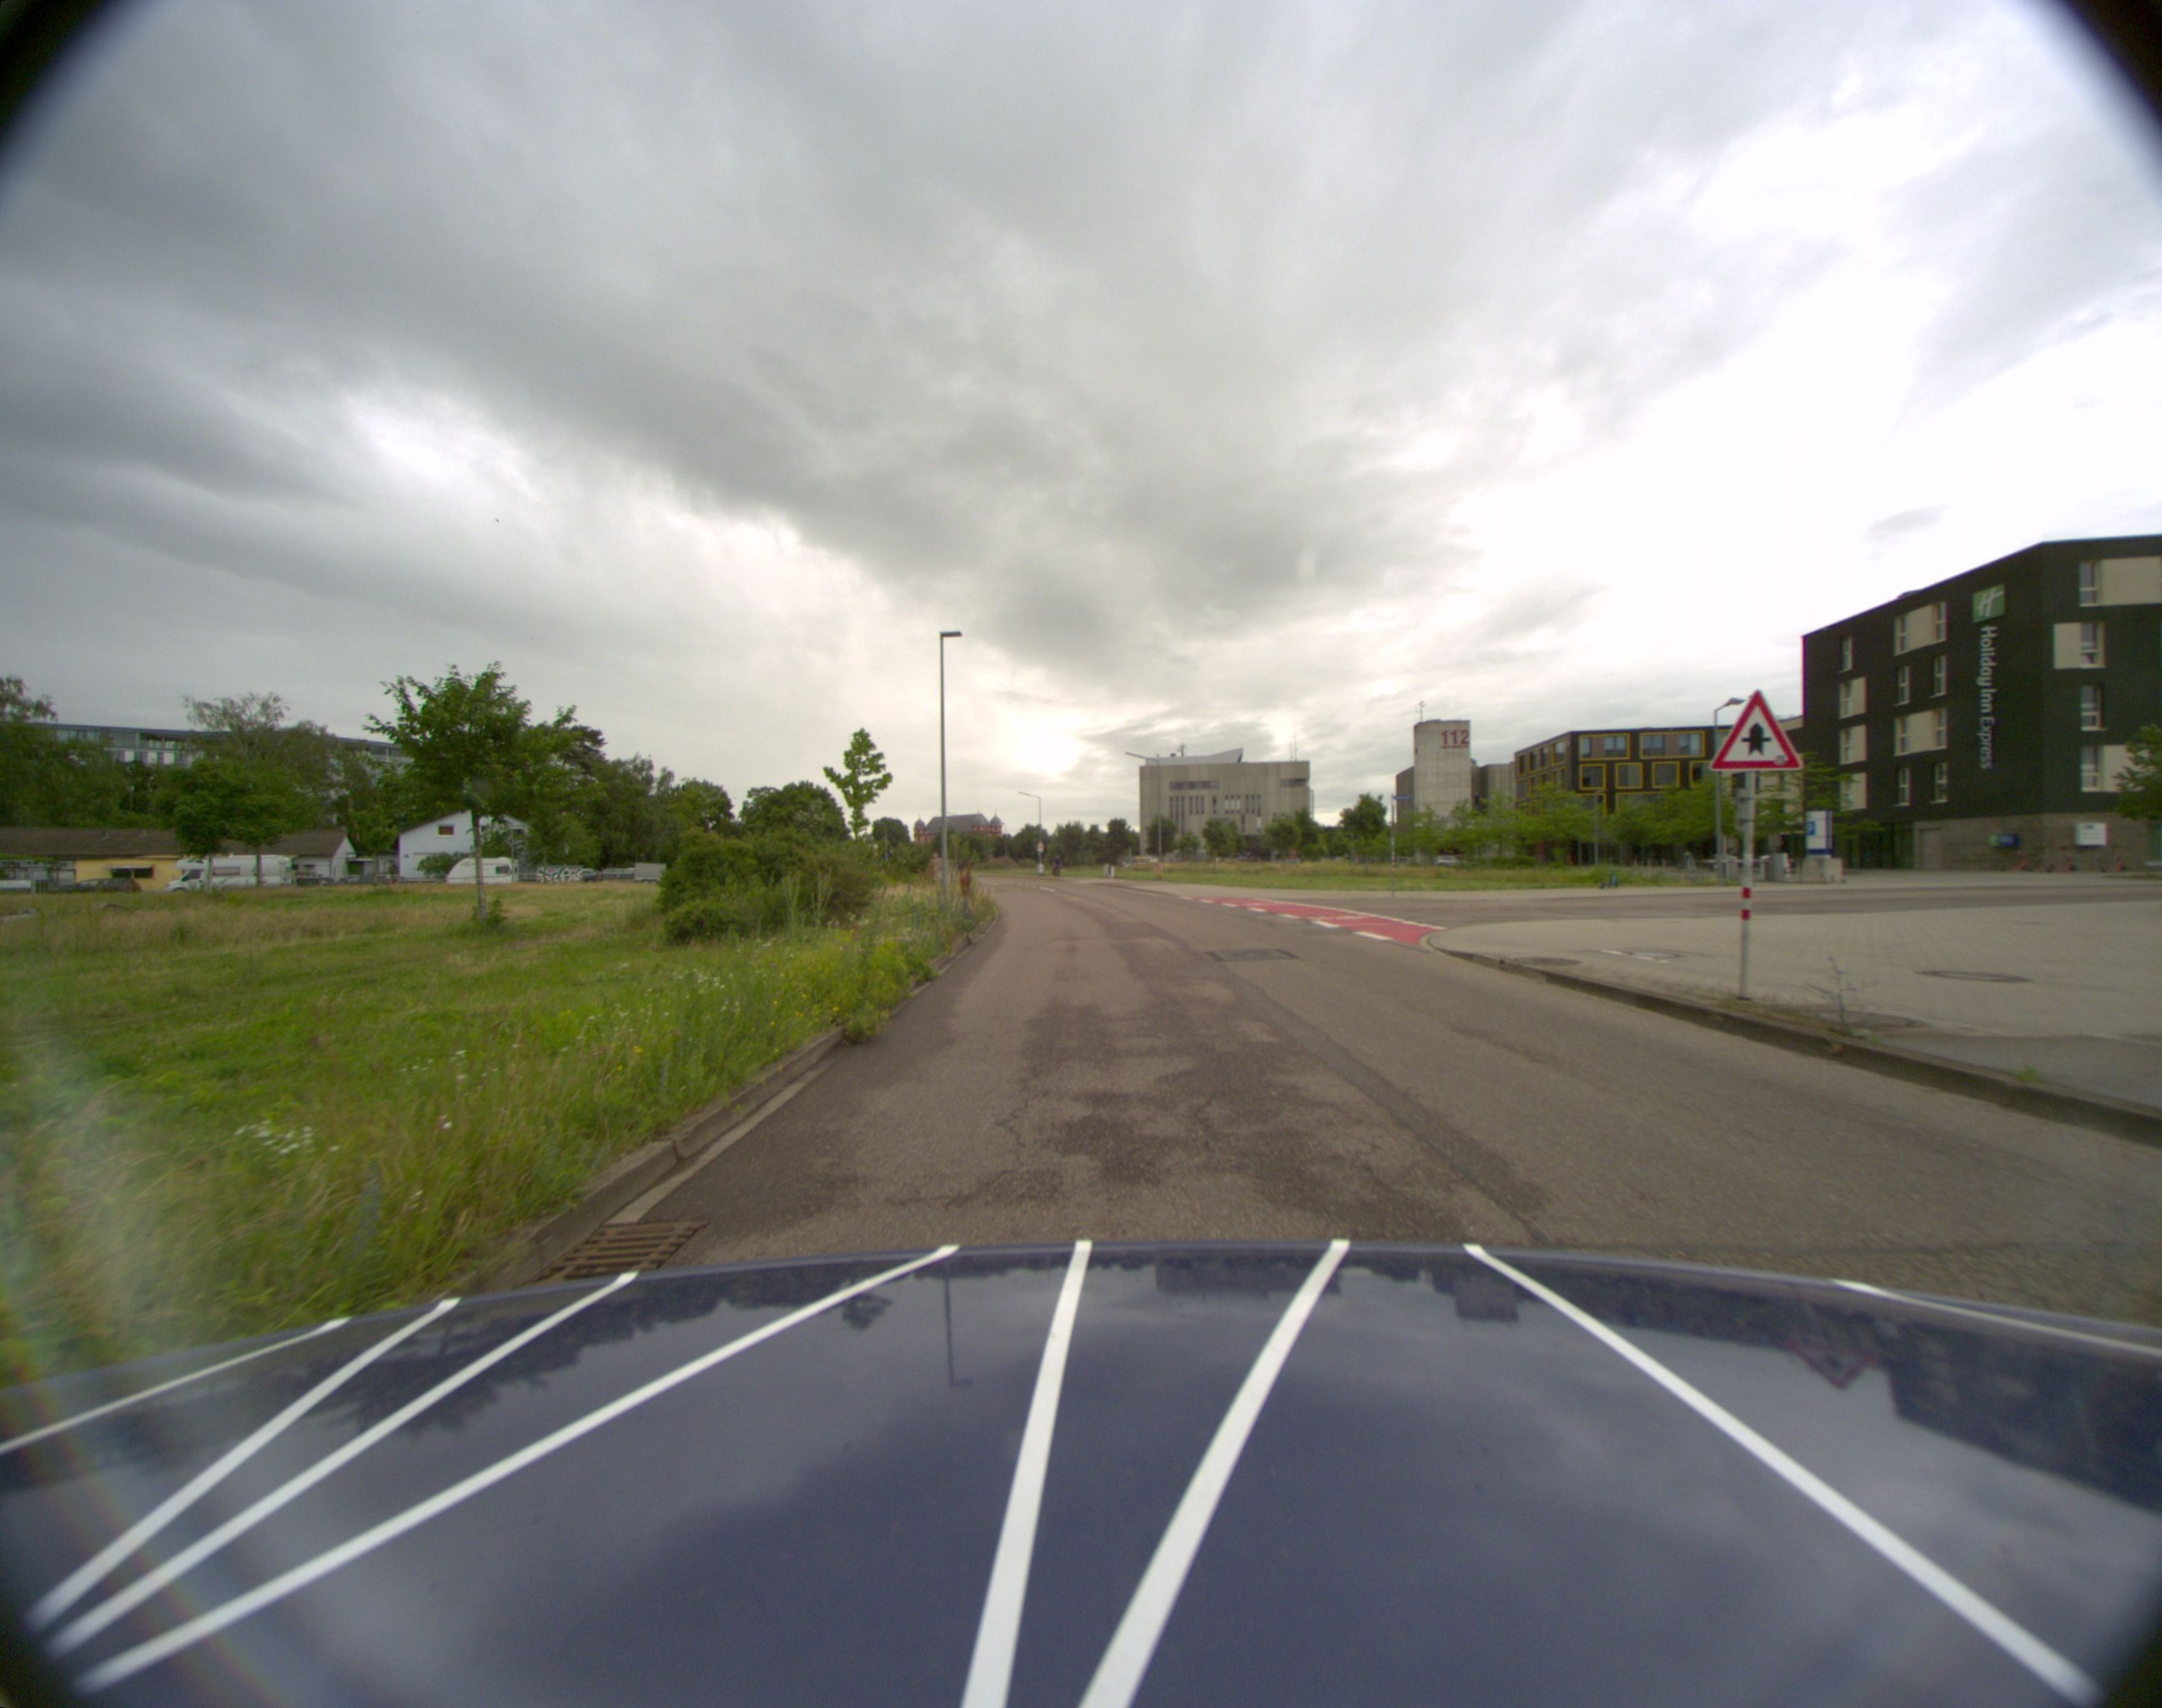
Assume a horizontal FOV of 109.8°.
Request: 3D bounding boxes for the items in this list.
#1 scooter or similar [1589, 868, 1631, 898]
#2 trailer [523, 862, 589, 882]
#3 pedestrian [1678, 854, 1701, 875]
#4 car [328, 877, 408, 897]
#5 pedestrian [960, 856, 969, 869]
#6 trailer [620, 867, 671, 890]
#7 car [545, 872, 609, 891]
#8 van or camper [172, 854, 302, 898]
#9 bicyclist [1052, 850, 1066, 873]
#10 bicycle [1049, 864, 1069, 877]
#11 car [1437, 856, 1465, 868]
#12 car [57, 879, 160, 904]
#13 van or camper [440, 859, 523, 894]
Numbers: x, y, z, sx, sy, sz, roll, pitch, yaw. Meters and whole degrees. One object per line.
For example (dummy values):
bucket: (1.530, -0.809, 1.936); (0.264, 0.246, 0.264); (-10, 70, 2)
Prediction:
scooter or similar: (21.347, 1.152, 30.673); (1.468, 1.161, 0.571); (-1, 0, -15)
trailer: (-40.821, 1.397, 59.180); (4.127, 1.523, 1.754); (0, -2, -33)
pedestrian: (45.153, 0.783, 56.364); (0.954, 1.561, 0.875); (-1, -1, -6)
car: (-56.102, 2.581, 59.889); (4.298, 1.377, 1.908); (0, -1, -31)
pedestrian: (-16.047, 1.111, 104.763); (0.848, 1.772, 1.075); (0, -1, -31)
trailer: (-40.126, 2.231, 69.992); (4.006, 2.001, 1.640); (0, -1, -31)
car: (-44.309, 2.421, 66.942); (4.601, 1.630, 1.996); (0, -2, -31)
van or camper: (-62.349, 1.606, 56.331); (6.085, 3.092, 2.266); (0, -1, -32)
bicyclist: (-1.900, 0.643, 65.691); (0.865, 2.001, 1.175); (0, -1, -22)
bicycle: (-1.900, 1.439, 65.708); (0.887, 1.046, 2.465); (0, -1, -22)
car: (48.509, 1.049, 99.692); (1.997, 1.514, 4.003); (1, -2, 6)
car: (-67.915, 2.626, 53.175); (3.941, 1.564, 1.996); (0, -4, -30)
van or camper: (-50.121, 1.899, 63.702); (5.188, 2.815, 2.411); (0, -1, -29)
